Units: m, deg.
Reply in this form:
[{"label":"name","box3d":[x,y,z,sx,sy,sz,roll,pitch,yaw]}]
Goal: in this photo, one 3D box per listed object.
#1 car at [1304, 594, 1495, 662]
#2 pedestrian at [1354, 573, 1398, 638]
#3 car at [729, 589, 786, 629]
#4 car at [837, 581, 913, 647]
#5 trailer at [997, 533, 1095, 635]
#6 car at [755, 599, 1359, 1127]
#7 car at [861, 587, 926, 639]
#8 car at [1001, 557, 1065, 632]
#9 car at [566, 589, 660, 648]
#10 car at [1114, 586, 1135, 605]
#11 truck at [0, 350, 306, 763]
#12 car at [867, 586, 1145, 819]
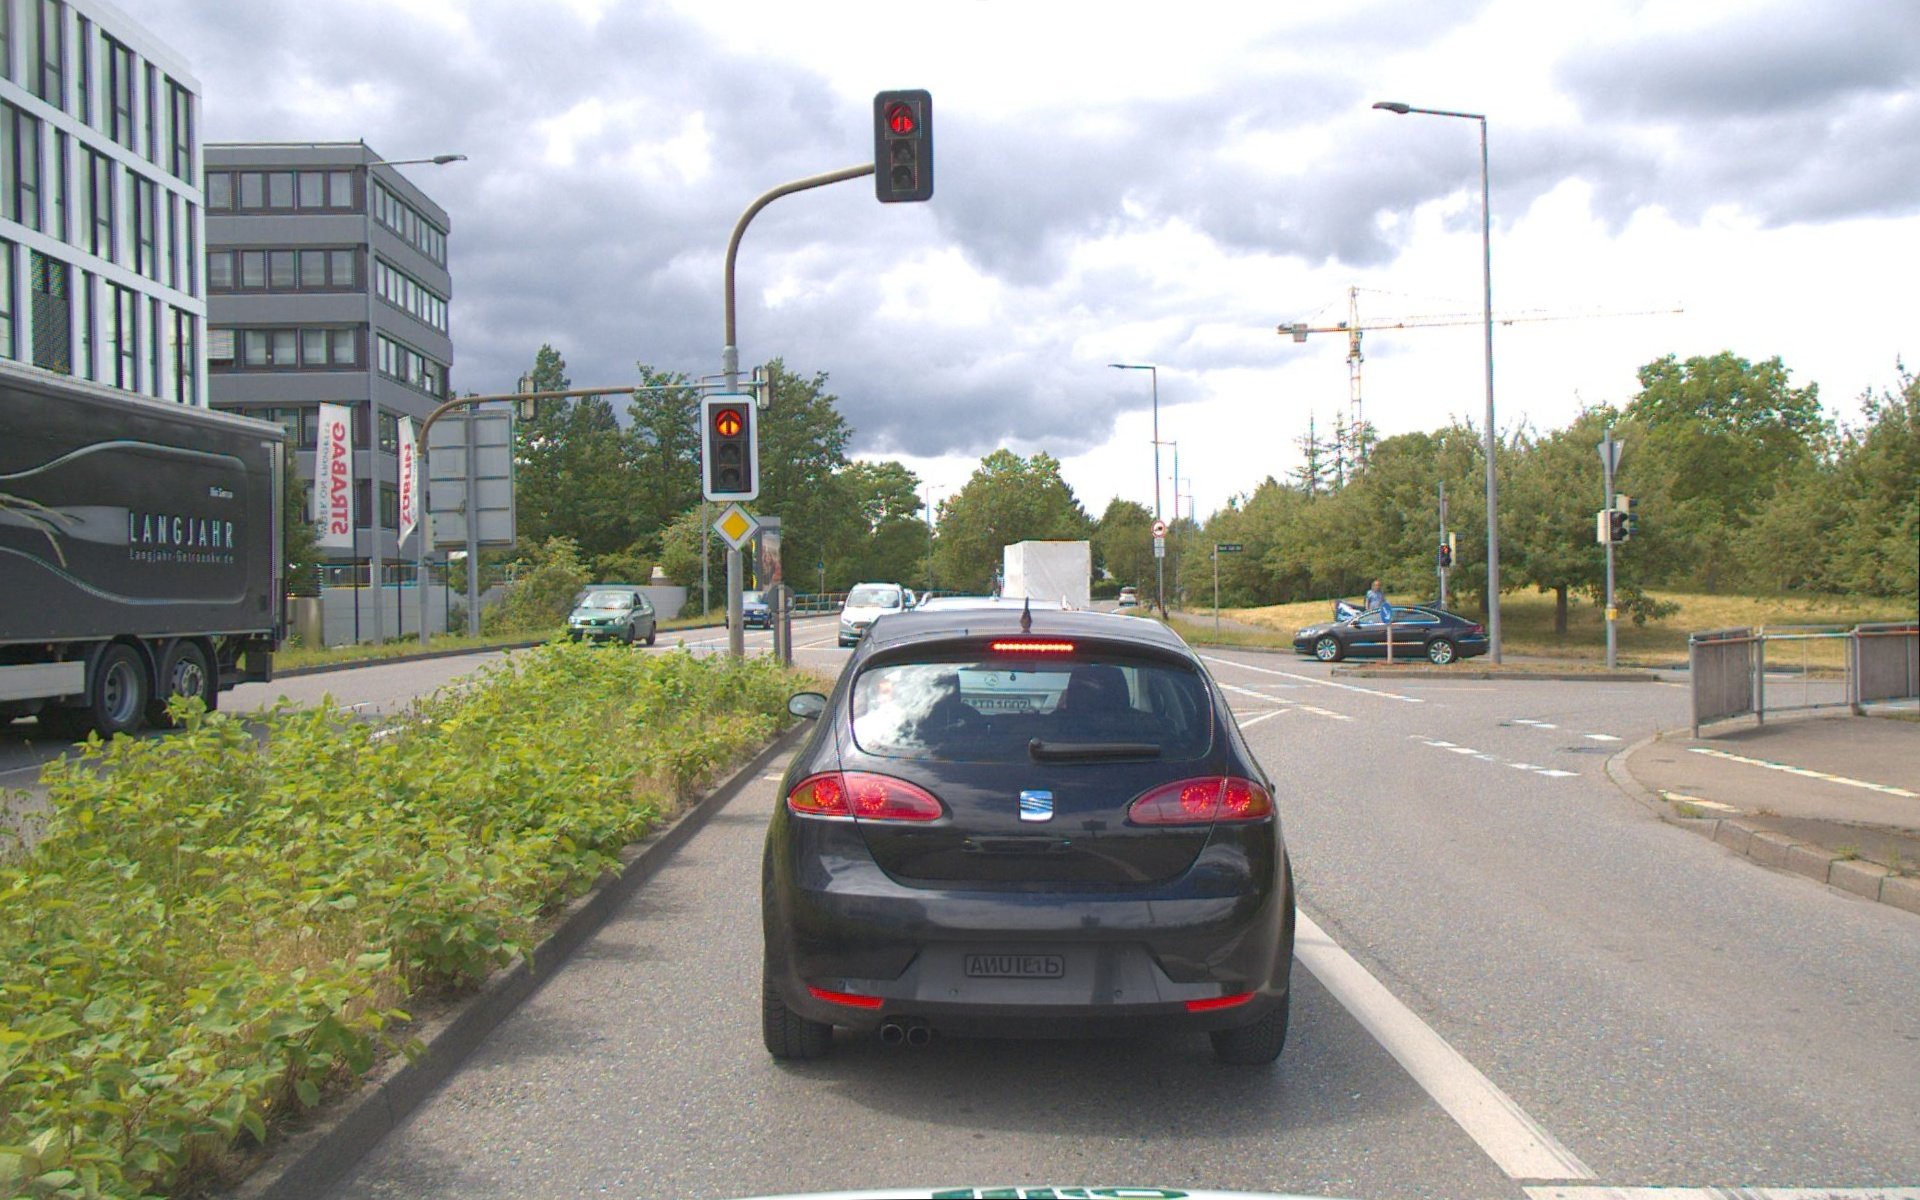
[{"label":"car","box3d":[10.761,0.685,40.446,4.364,1.593,2.000,0,-2,20]},{"label":"pedestrian","box3d":[11.880,0.164,47.241,0.709,1.824,1.034,1,-1,-27]},{"label":"car","box3d":[-7.700,0.308,63.195,1.521,1.444,3.897,1,1,3]},{"label":"car","box3d":[-2.327,0.346,46.148,1.783,1.716,4.646,1,1,1]},{"label":"trailer","box3d":[2.740,-0.481,54.173,2.442,3.127,5.581,1,0,-5]},{"label":"car","box3d":[0.256,0.737,6.355,1.676,1.442,3.459,1,0,-1]},{"label":"car","box3d":[-2.063,0.380,52.229,1.625,1.545,4.086,1,1,3]},{"label":"car","box3d":[2.598,-0.165,60.013,2.083,2.562,5.835,1,0,1]},{"label":"car","box3d":[-9.028,0.443,43.280,1.572,1.457,3.753,0,0,1]},{"label":"car","box3d":[14.501,-0.401,145.591,1.631,1.624,4.003,1,0,9]},{"label":"truck","box3d":[-9.802,-0.400,15.507,3.101,3.579,9.531,1,0,3]},{"label":"car","box3d":[0.316,0.677,12.683,1.797,1.493,3.751,1,0,0]}]
